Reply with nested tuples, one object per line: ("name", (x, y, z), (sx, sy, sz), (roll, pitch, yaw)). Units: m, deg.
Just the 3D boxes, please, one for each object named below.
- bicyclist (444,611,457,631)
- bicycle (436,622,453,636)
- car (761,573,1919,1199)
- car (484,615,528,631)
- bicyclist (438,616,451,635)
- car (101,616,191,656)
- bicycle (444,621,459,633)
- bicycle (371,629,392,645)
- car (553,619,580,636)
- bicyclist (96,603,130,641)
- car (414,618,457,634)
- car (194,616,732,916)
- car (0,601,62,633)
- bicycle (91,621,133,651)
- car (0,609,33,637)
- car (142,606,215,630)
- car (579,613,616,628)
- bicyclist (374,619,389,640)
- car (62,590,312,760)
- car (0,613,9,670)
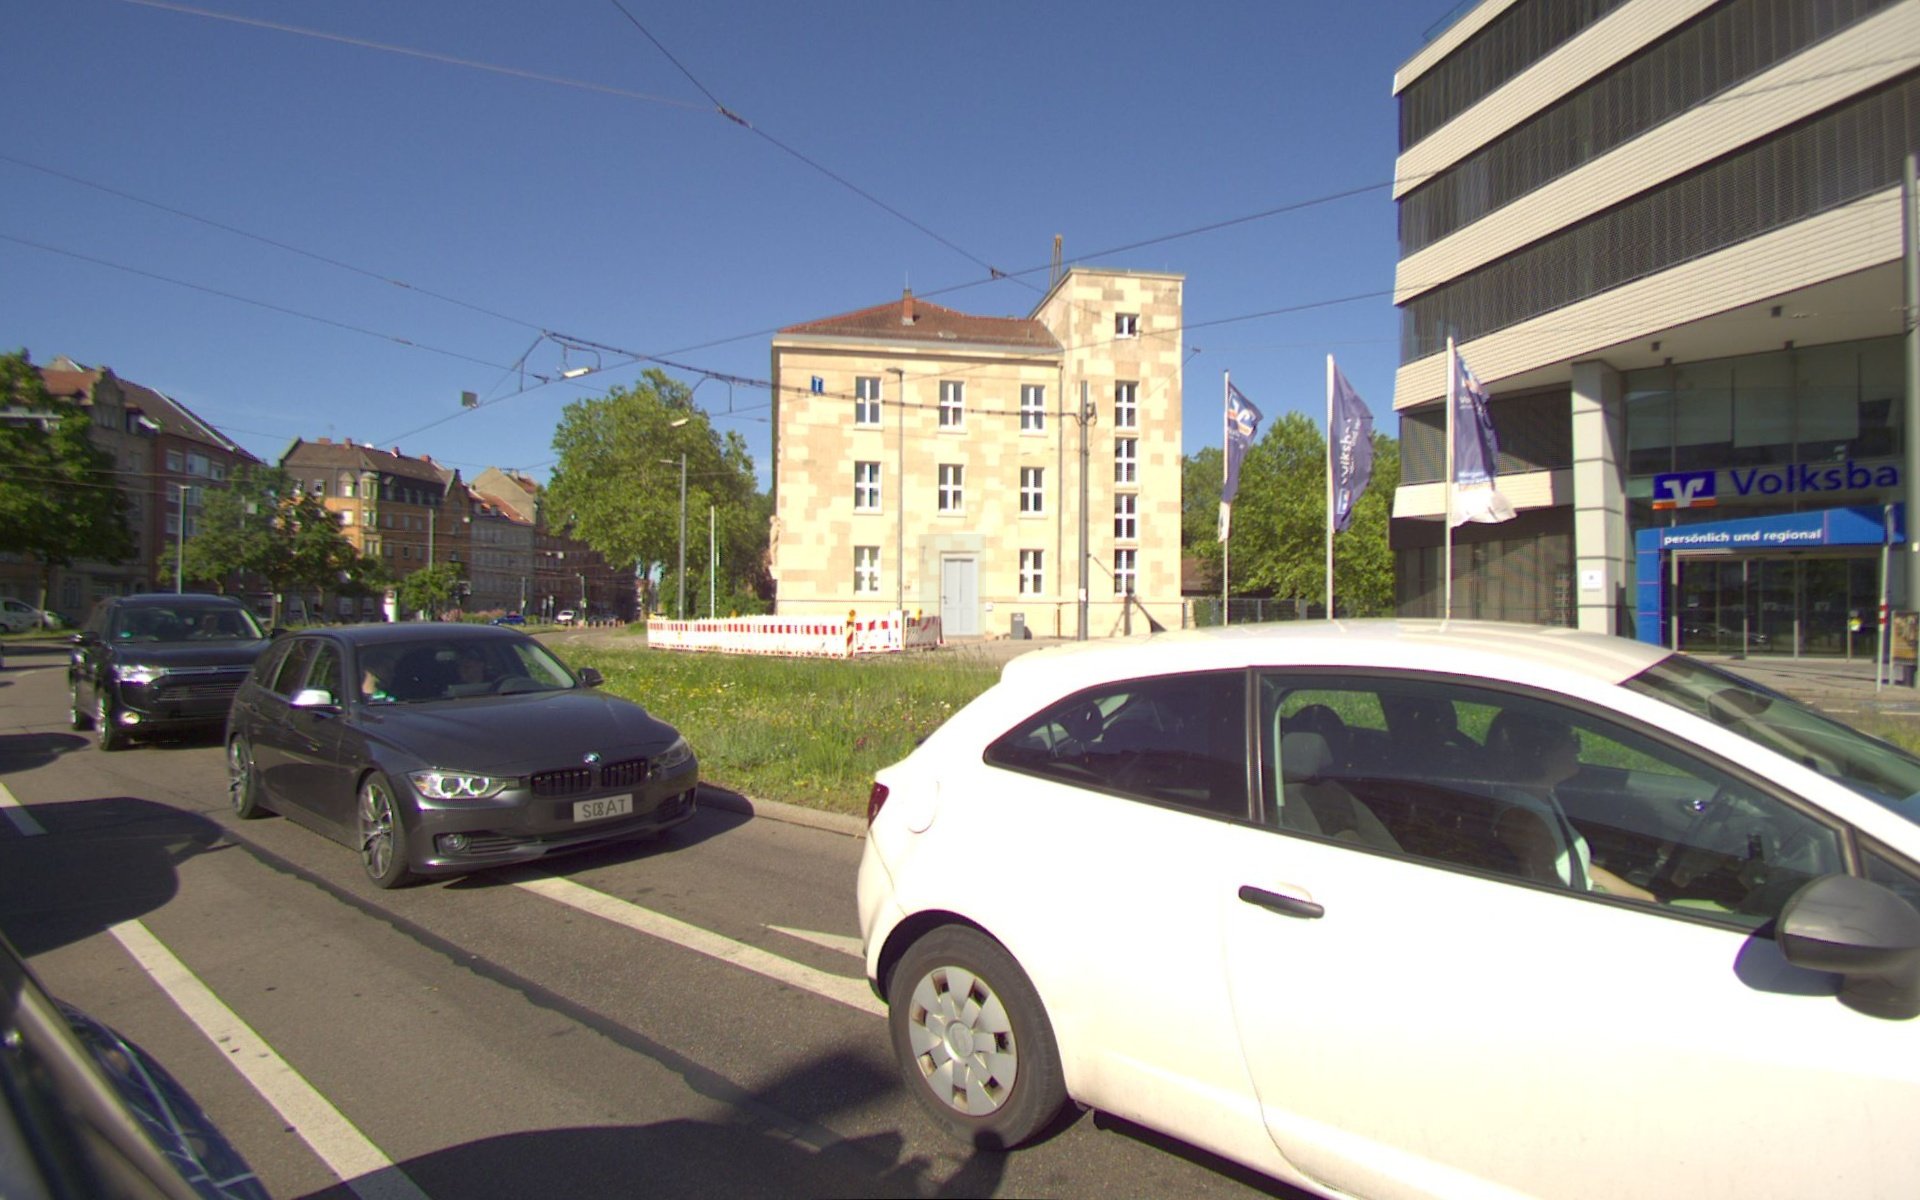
("bicyclist", (-49.921, 2.055, 99.232), (0.836, 2.029, 1.199), (0, -1, -9))
("bicycle", (-48.427, 2.726, 95.100), (0.726, 1.371, 2.078), (0, -1, -6))
("car", (1.480, 0.690, 2.485), (4.020, 1.452, 1.714), (0, 2, 40))
("car", (-53.688, 2.739, 119.725), (1.840, 1.896, 4.290), (0, -2, 41))
("bicyclist", (-48.454, 2.397, 95.107), (0.724, 1.707, 0.972), (0, -1, -6))
("car", (-36.036, 1.553, 44.919), (1.809, 1.659, 4.162), (1, -1, -20))
("bicycle", (-49.864, 2.675, 99.196), (0.752, 1.153, 2.288), (0, -1, -12))
("bicycle", (-45.921, 2.944, 80.376), (0.659, 1.206, 2.157), (0, -1, -6))
("car", (-50.618, 3.471, 130.261), (1.953, 2.101, 4.719), (1, -1, -5))
("bicyclist", (-39.476, 1.052, 47.180), (0.705, 1.739, 1.096), (1, -3, -9))
("car", (-59.705, 2.973, 115.196), (4.002, 1.669, 1.771), (1, -1, -13))
("car", (-3.600, 0.822, 6.885), (4.424, 1.377, 1.719), (-1, 0, 41))
("car", (-49.932, 0.878, 52.797), (4.514, 1.680, 1.601), (2, -2, -43))
("bicycle", (-39.476, 1.672, 47.136), (0.705, 1.337, 1.752), (1, -3, -10))
("car", (-48.766, 1.139, 50.391), (3.768, 1.390, 1.602), (2, -2, -41))
("car", (-53.933, 1.259, 69.879), (3.771, 1.603, 1.601), (2, -2, -44))
("car", (-42.729, 2.414, 119.307), (4.001, 1.669, 1.772), (1, -1, -16))
("bicyclist", (-45.908, 2.325, 80.273), (0.659, 1.641, 0.972), (0, -1, -5))
("car", (-9.382, 0.767, 12.136), (1.817, 1.658, 4.400), (-1, -1, -45))
("car", (-26.649, 1.122, 26.436), (1.809, 1.563, 4.160), (2, -1, -32))
